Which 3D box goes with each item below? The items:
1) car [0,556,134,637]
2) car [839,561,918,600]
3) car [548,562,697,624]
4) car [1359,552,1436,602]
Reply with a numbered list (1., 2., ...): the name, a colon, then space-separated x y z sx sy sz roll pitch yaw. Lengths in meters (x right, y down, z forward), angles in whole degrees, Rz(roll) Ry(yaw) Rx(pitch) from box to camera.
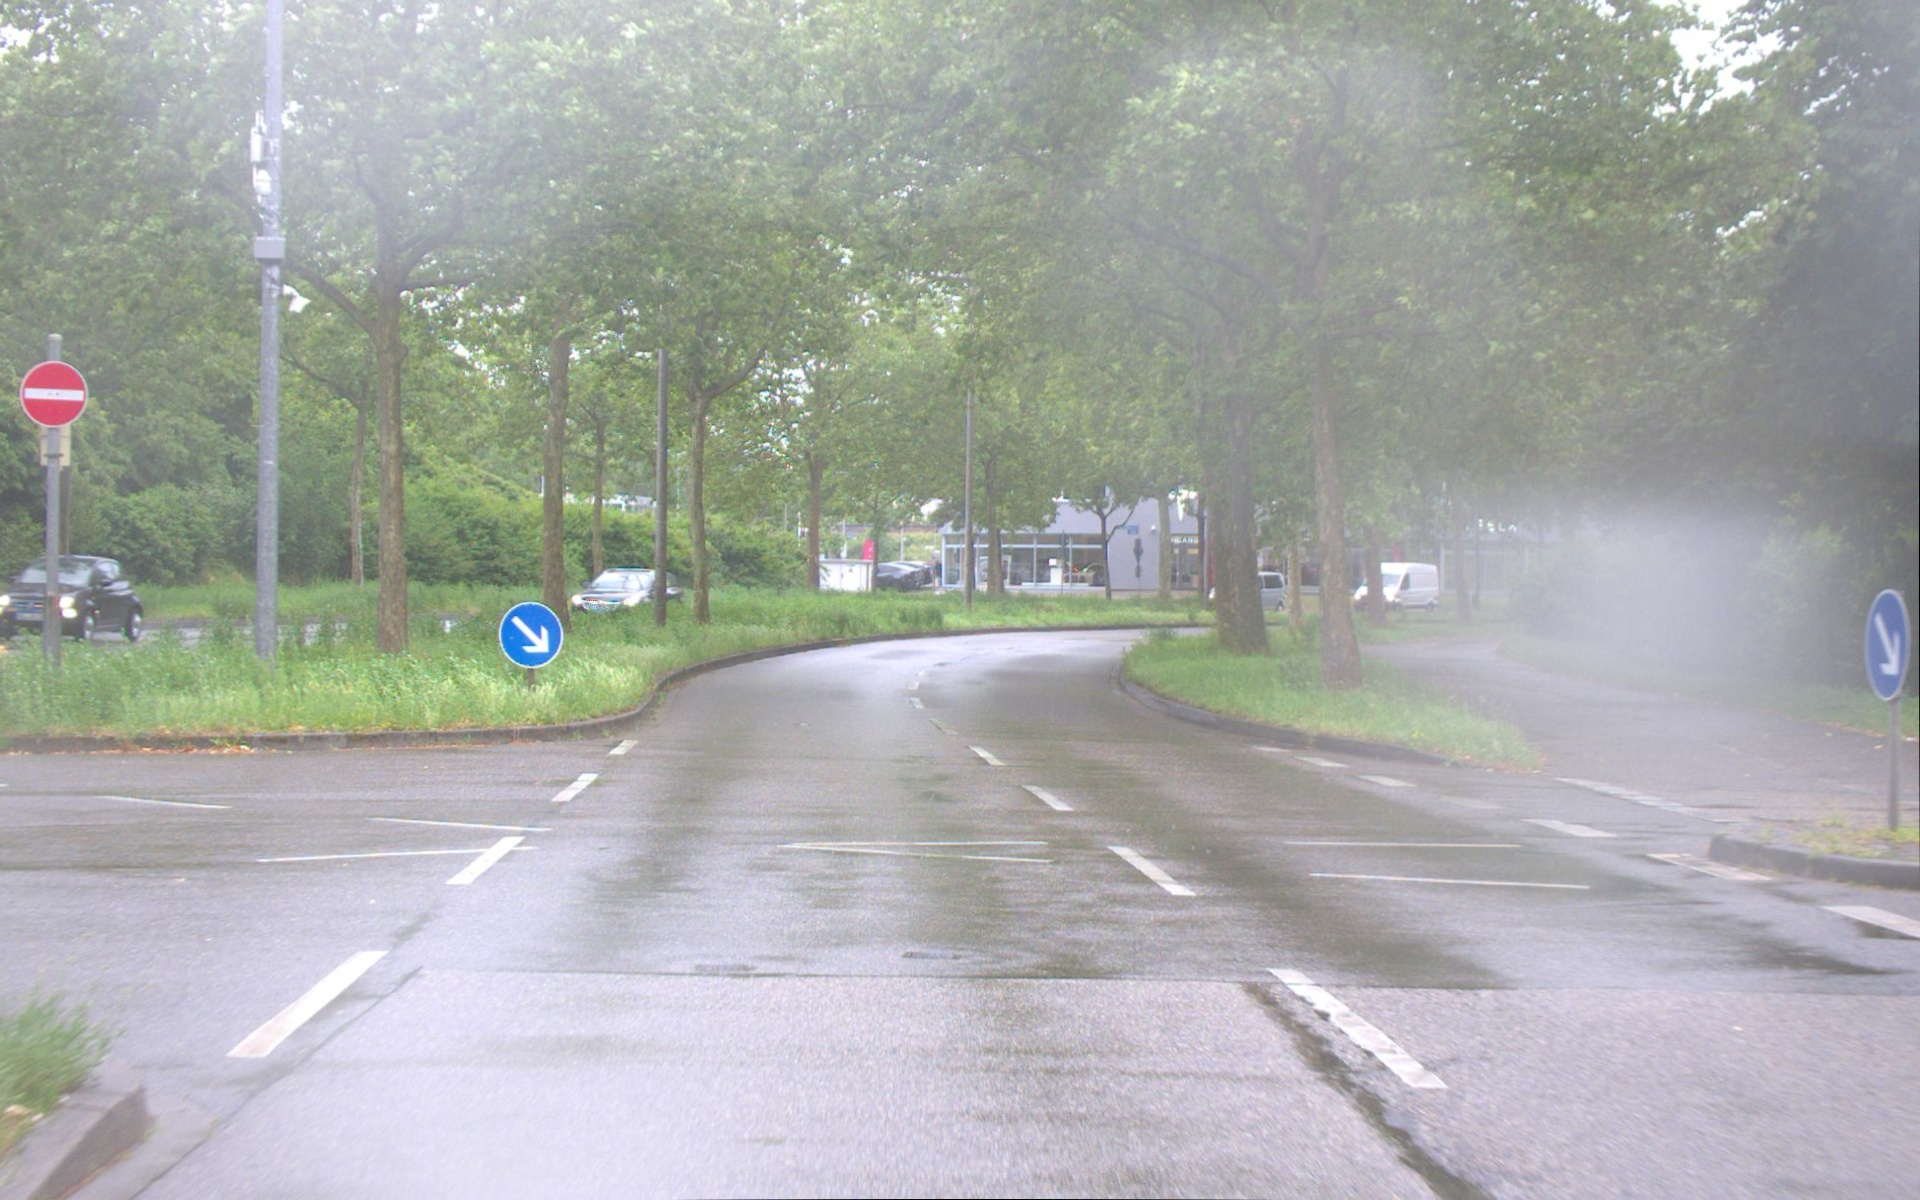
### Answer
1. car: -15.828 -0.073 60.241 1.587 1.368 4.262 0 0 2
2. car: -4.384 -1.050 184.896 3.986 2.007 2.000 1 -1 -9
3. car: -8.135 -0.173 83.335 2.005 1.447 4.988 0 0 14
4. car: 20.417 -1.084 160.247 2.284 2.264 5.962 1 1 20
